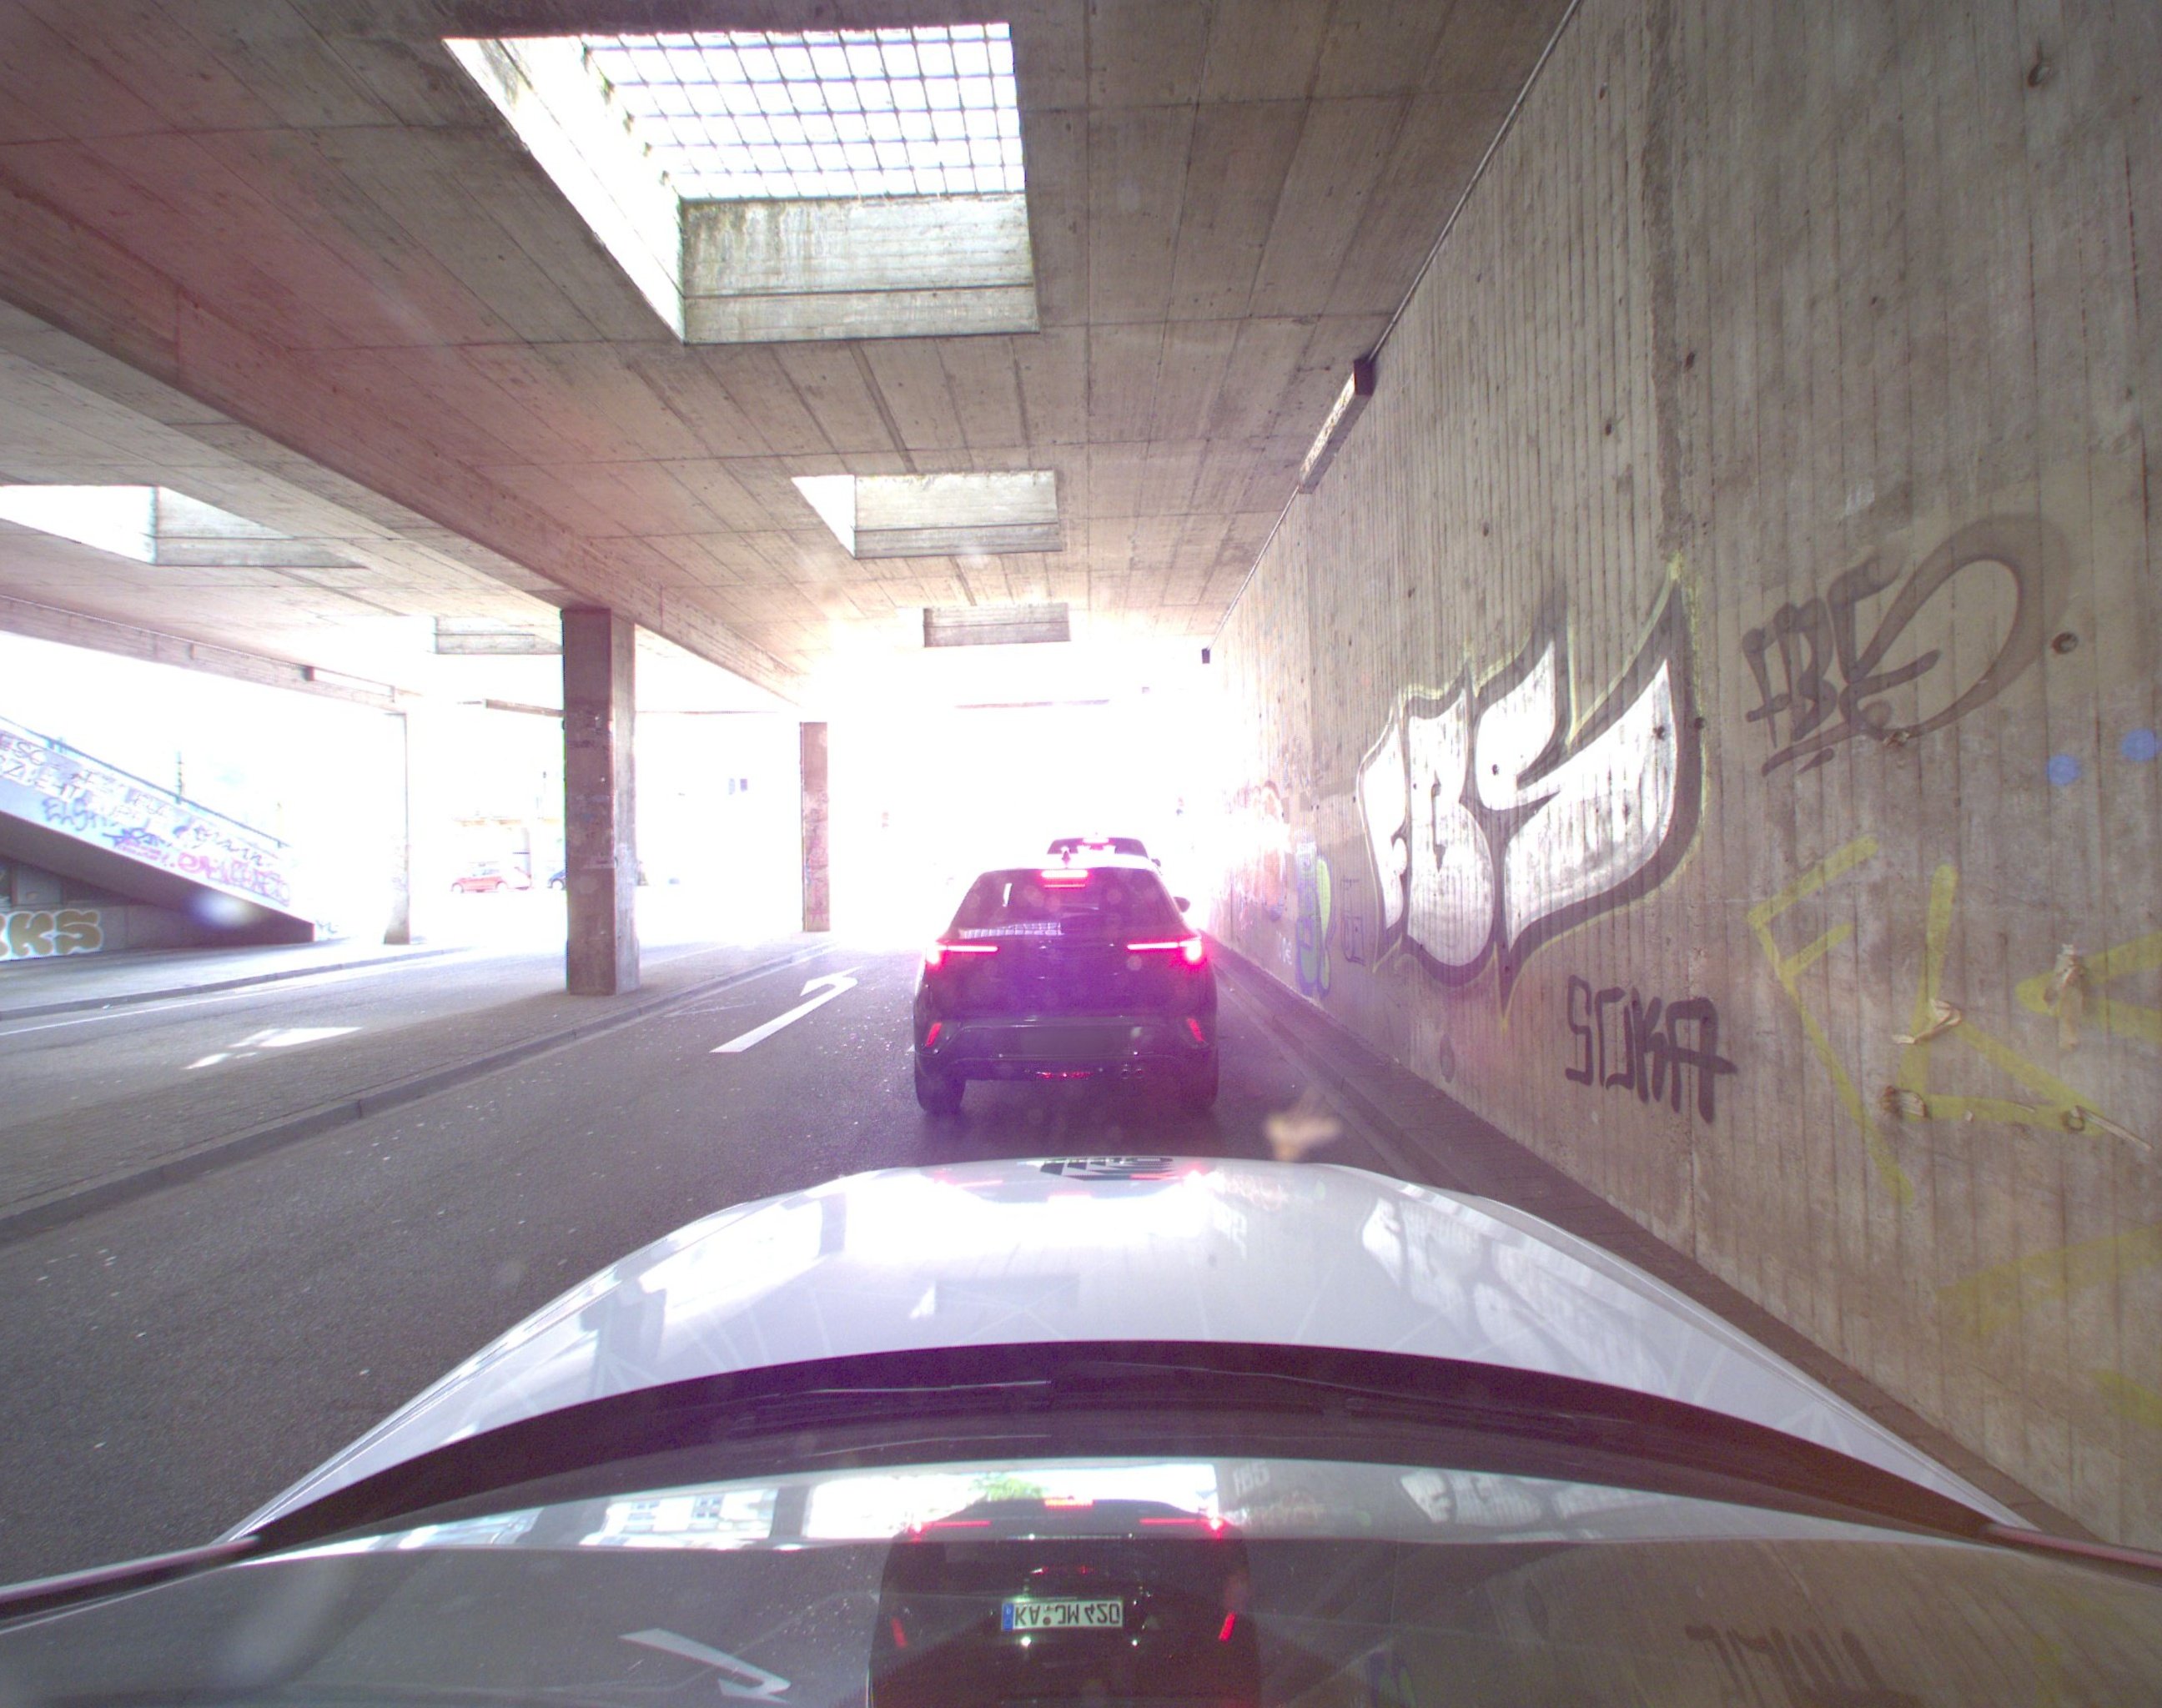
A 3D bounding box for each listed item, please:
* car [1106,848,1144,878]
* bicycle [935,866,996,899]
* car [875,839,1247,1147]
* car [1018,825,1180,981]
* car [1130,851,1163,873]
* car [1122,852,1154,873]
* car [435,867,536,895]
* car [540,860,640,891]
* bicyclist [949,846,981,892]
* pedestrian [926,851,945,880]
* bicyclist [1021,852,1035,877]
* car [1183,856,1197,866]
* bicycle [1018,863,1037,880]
[{"bbox_3d":[2.408,0.506,44.267,1.959,1.497,3.900,-2,-2,4],"label":"car"},{"bbox_3d":[-3.799,0.937,26.930,1.847,1.008,0.746,-3,0,4],"label":"bicycle"},{"bbox_3d":[-0.044,0.718,6.188,1.875,1.538,3.966,-2,0,2],"label":"car"},{"bbox_3d":[0.288,0.601,12.009,1.938,1.860,3.966,-2,0,2],"label":"car"},{"bbox_3d":[5.586,0.688,69.038,2.206,1.719,4.474,-2,-2,12],"label":"car"},{"bbox_3d":[4.405,0.644,62.252,1.955,1.497,3.908,-2,-2,11],"label":"car"},{"bbox_3d":[-33.012,1.484,45.237,3.970,1.374,2.192,-2,0,3],"label":"car"},{"bbox_3d":[-27.208,1.192,45.238,4.114,1.550,2.268,-2,0,1],"label":"car"},{"bbox_3d":[-3.829,0.497,26.953,0.866,1.452,0.746,-2,0,3],"label":"bicyclist"},{"bbox_3d":[-10.649,0.838,59.771,0.986,2.013,1.091,-2,0,10],"label":"pedestrian"},{"bbox_3d":[-3.379,0.652,51.779,0.724,1.581,0.817,-1,-1,11],"label":"bicyclist"},{"bbox_3d":[17.742,1.137,132.654,1.981,1.662,4.012,-1,-1,11],"label":"car"},{"bbox_3d":[-3.389,1.109,51.744,0.727,1.067,1.694,-1,-1,11],"label":"bicycle"}]
